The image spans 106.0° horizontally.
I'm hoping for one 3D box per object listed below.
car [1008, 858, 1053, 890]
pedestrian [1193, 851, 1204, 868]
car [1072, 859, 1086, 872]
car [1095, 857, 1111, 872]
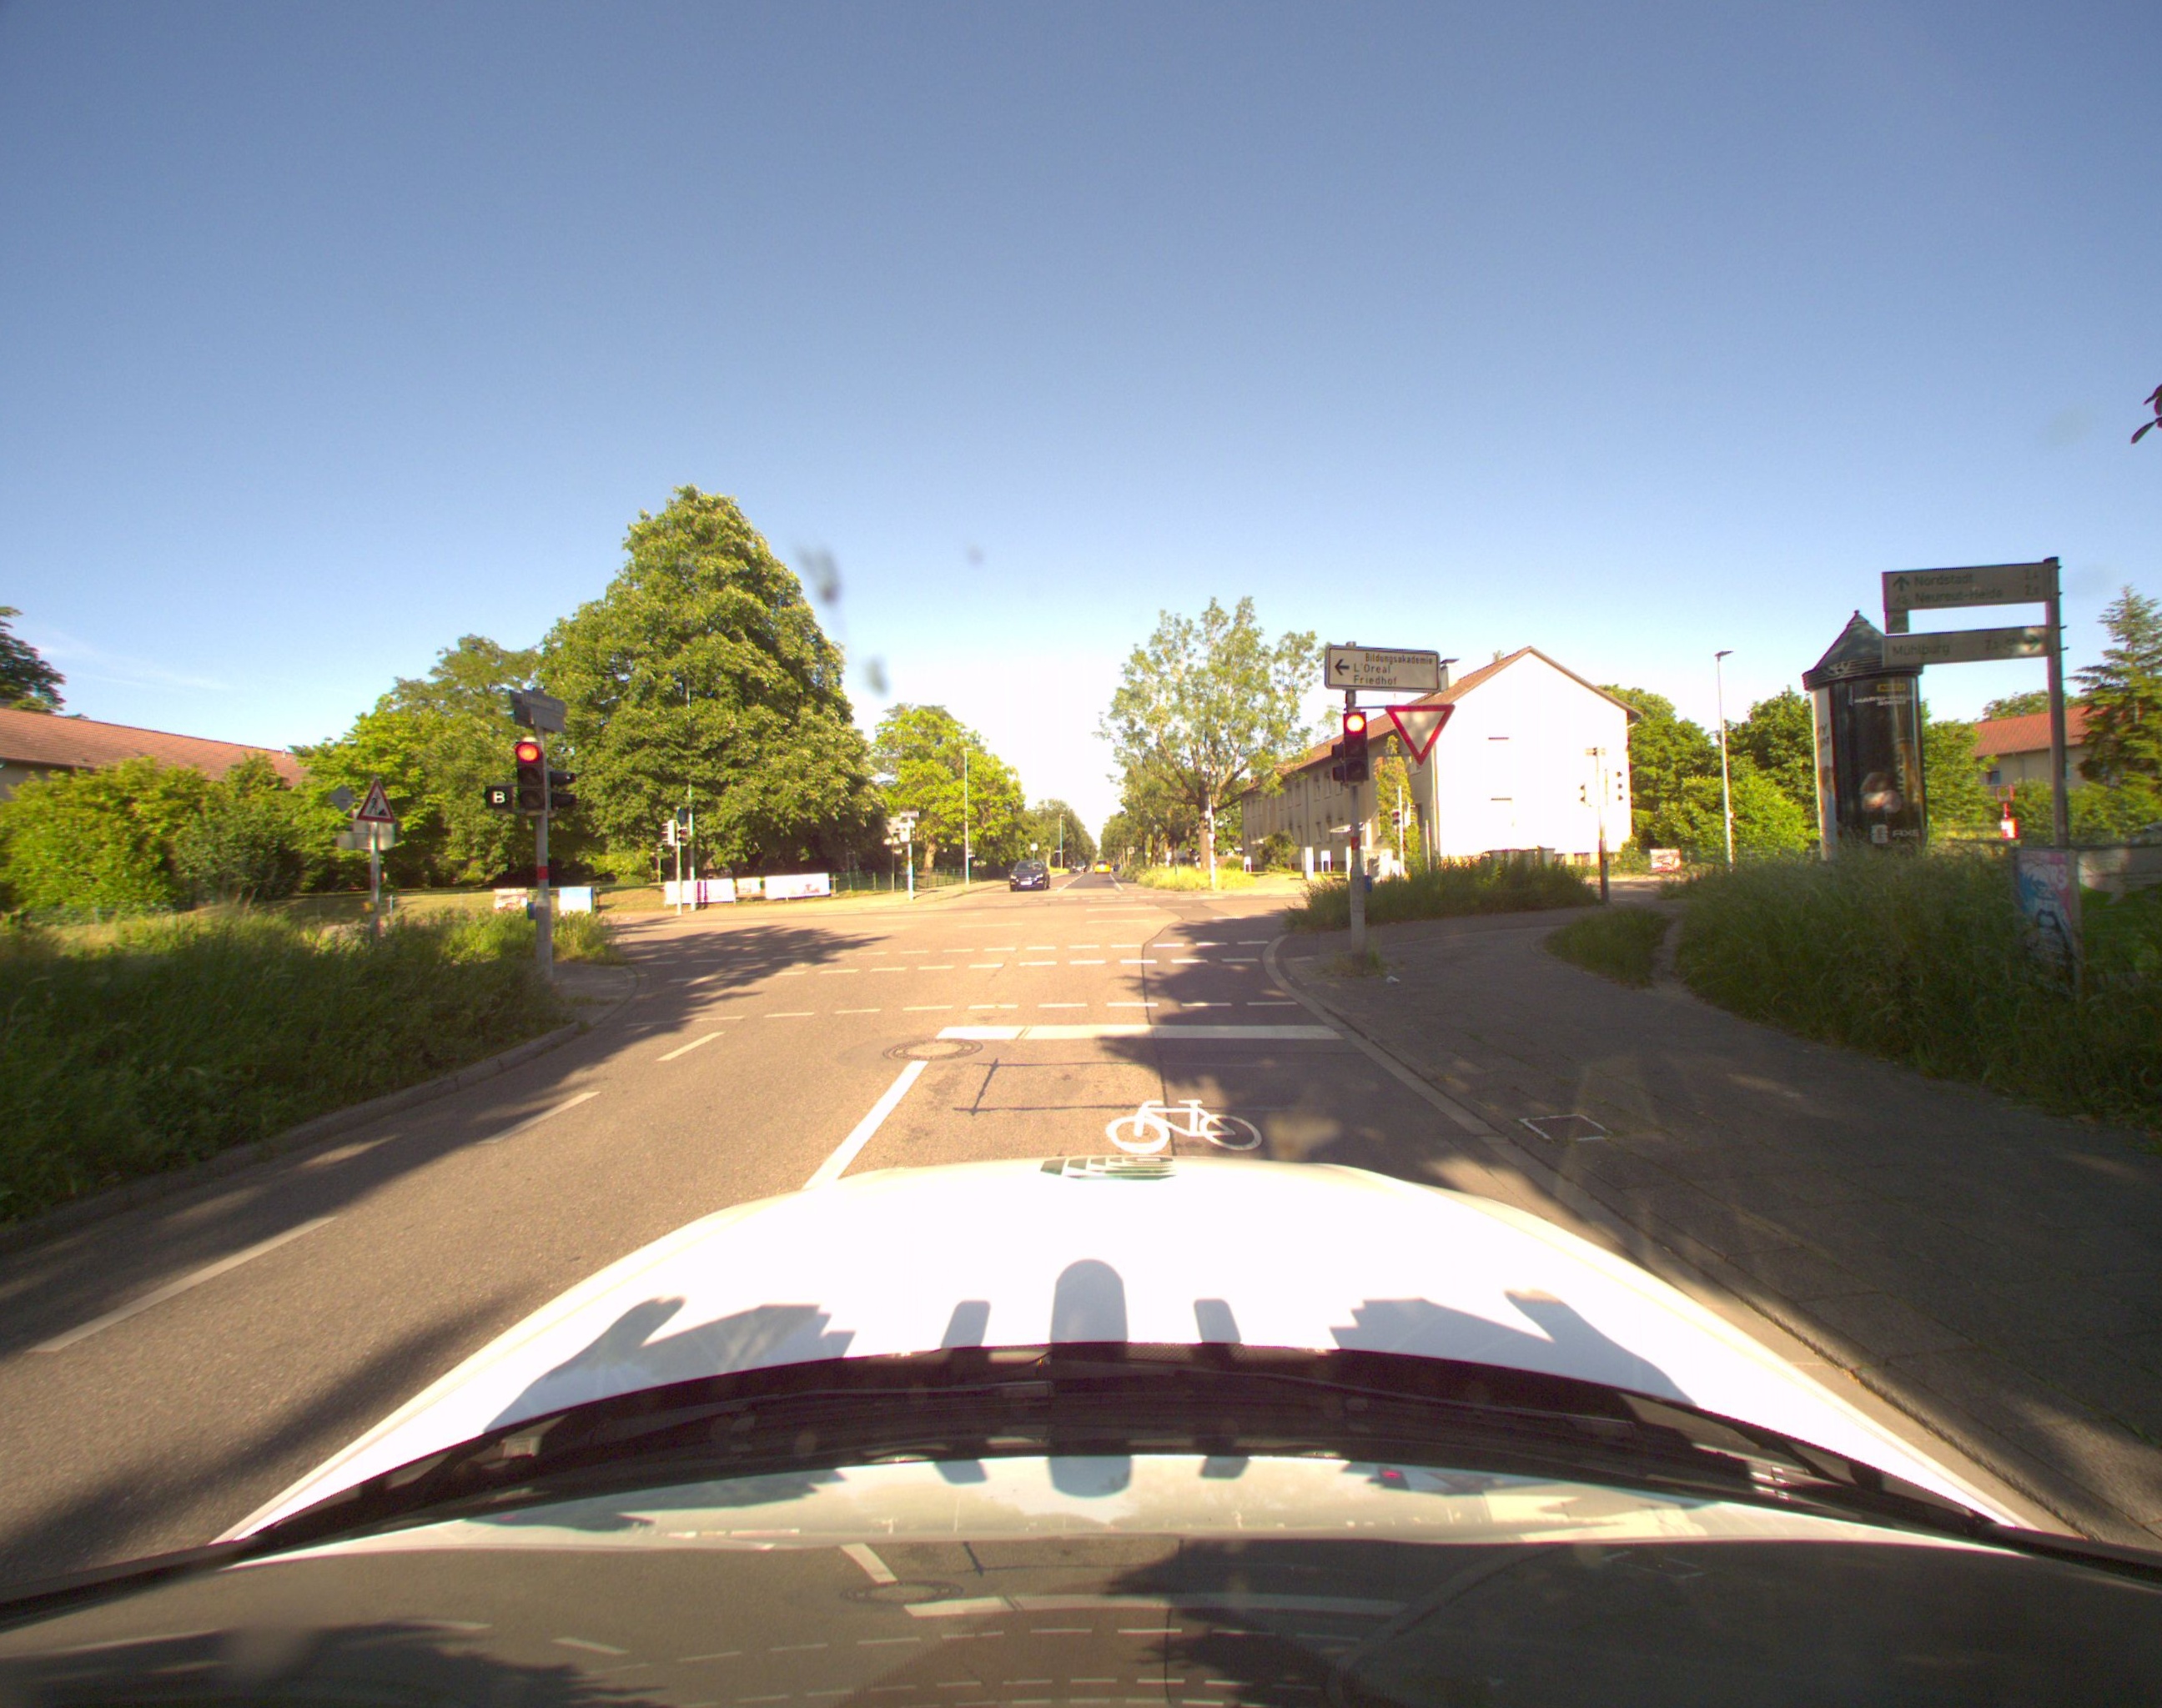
[{"bbox_3d":[-2.376,0.920,38.820,1.704,1.385,3.473,-2,0,3],"label":"car"},{"bbox_3d":[10.434,0.464,72.126,0.839,1.493,0.924,1,0,1],"label":"pedestrian"},{"bbox_3d":[-0.258,1.581,110.274,1.751,1.624,3.271,-2,0,3],"label":"car"},{"bbox_3d":[2.484,1.205,92.081,1.745,1.582,4.002,-1,-1,2],"label":"car"}]
